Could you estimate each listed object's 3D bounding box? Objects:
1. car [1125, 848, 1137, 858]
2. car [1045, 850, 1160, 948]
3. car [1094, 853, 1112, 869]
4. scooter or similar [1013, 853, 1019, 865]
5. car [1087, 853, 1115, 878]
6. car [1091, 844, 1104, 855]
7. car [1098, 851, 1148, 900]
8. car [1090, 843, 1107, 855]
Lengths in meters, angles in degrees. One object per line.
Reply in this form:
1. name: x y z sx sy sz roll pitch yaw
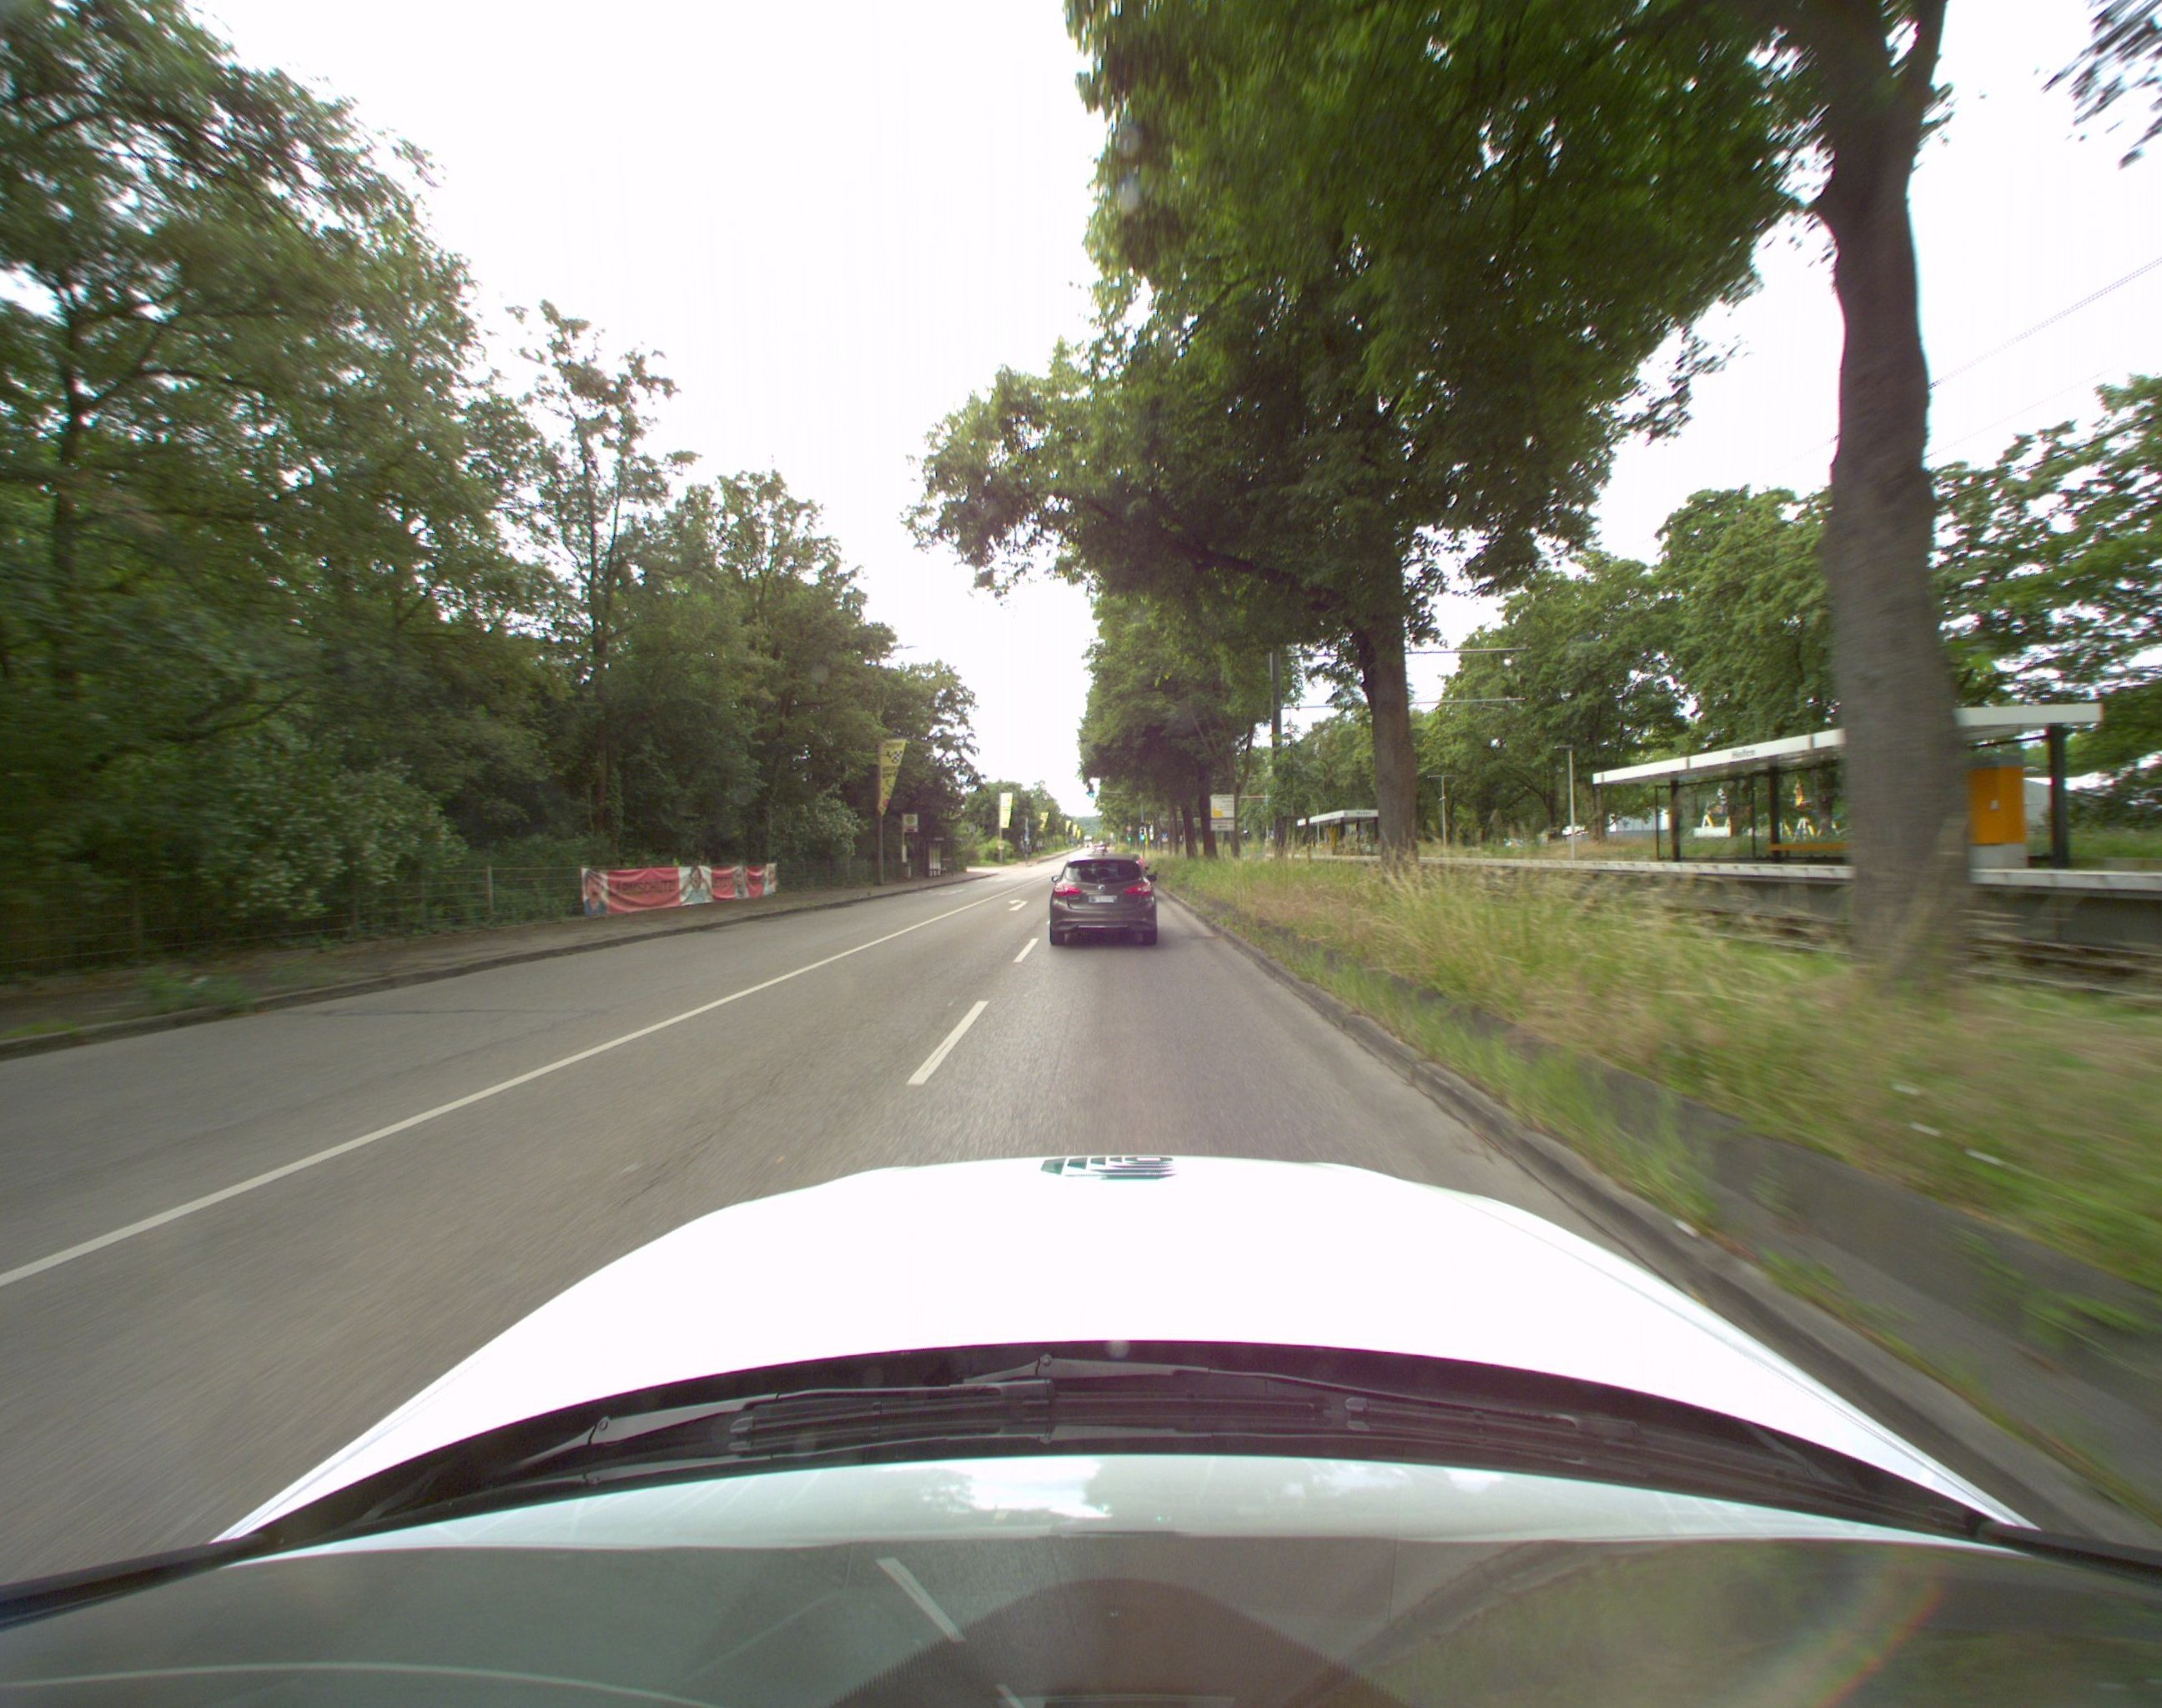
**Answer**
1. car: 7.504 -0.129 121.863 1.685 1.441 3.543 0 0 1
2. car: 0.400 0.698 14.520 1.777 1.507 3.698 -1 0 2
3. car: 2.060 0.613 76.860 1.685 1.441 3.543 0 0 1
4. scooter or similar: -7.304 0.556 91.817 0.460 1.259 1.427 0 0 3
5. car: 1.242 0.670 50.382 1.685 1.441 3.543 0 0 1
6. car: 2.678 -0.721 130.458 1.986 1.574 4.001 1 0 2
7. car: 1.322 0.643 26.440 1.496 1.441 3.543 0 0 1
8. car: 2.165 -0.602 100.081 1.986 1.321 4.001 1 0 2
